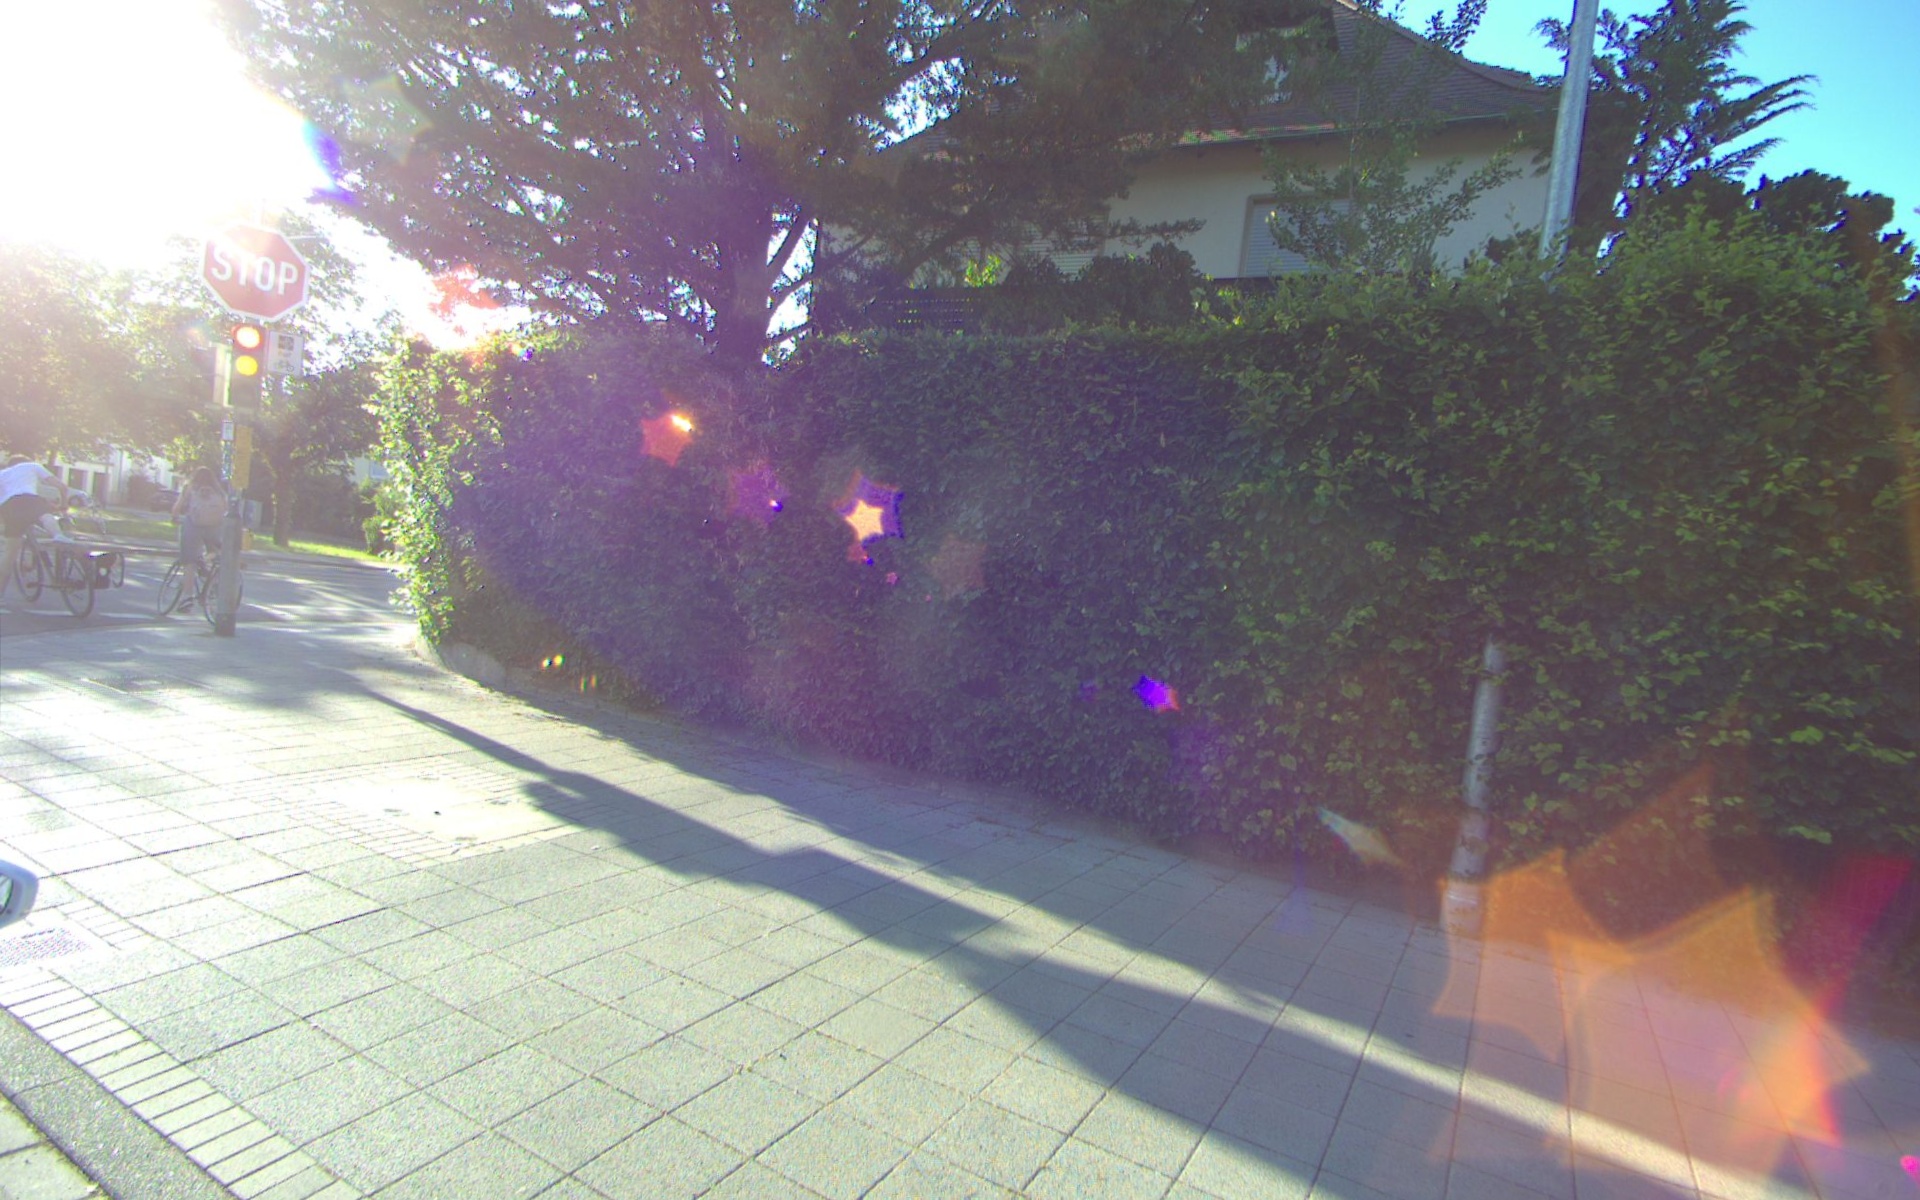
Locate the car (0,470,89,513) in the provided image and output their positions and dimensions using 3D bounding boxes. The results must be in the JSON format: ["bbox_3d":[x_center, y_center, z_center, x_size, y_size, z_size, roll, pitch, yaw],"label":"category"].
[{"bbox_3d":[-46.468,-5.470,50.369,1.497,1.542,3.933,6,-2,25],"label":"car"}]

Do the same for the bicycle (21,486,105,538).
[{"bbox_3d":[-23.320,-2.274,26.166,0.460,1.103,1.520,8,1,39],"label":"bicycle"}]

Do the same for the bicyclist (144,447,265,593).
[{"bbox_3d":[-8.899,-0.939,11.854,0.879,1.580,0.713,6,-1,32],"label":"bicyclist"}]

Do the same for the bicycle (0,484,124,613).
[{"bbox_3d":[-9.835,-0.581,10.825,1.873,1.197,0.573,7,-1,30],"label":"bicycle"}]

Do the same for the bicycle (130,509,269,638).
[{"bbox_3d":[-8.945,-0.329,11.807,1.930,1.198,0.492,10,1,31],"label":"bicycle"}]

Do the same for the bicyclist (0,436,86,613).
[{"bbox_3d":[-10.113,-0.809,10.718,0.879,1.752,0.816,7,-1,30],"label":"bicyclist"}]
